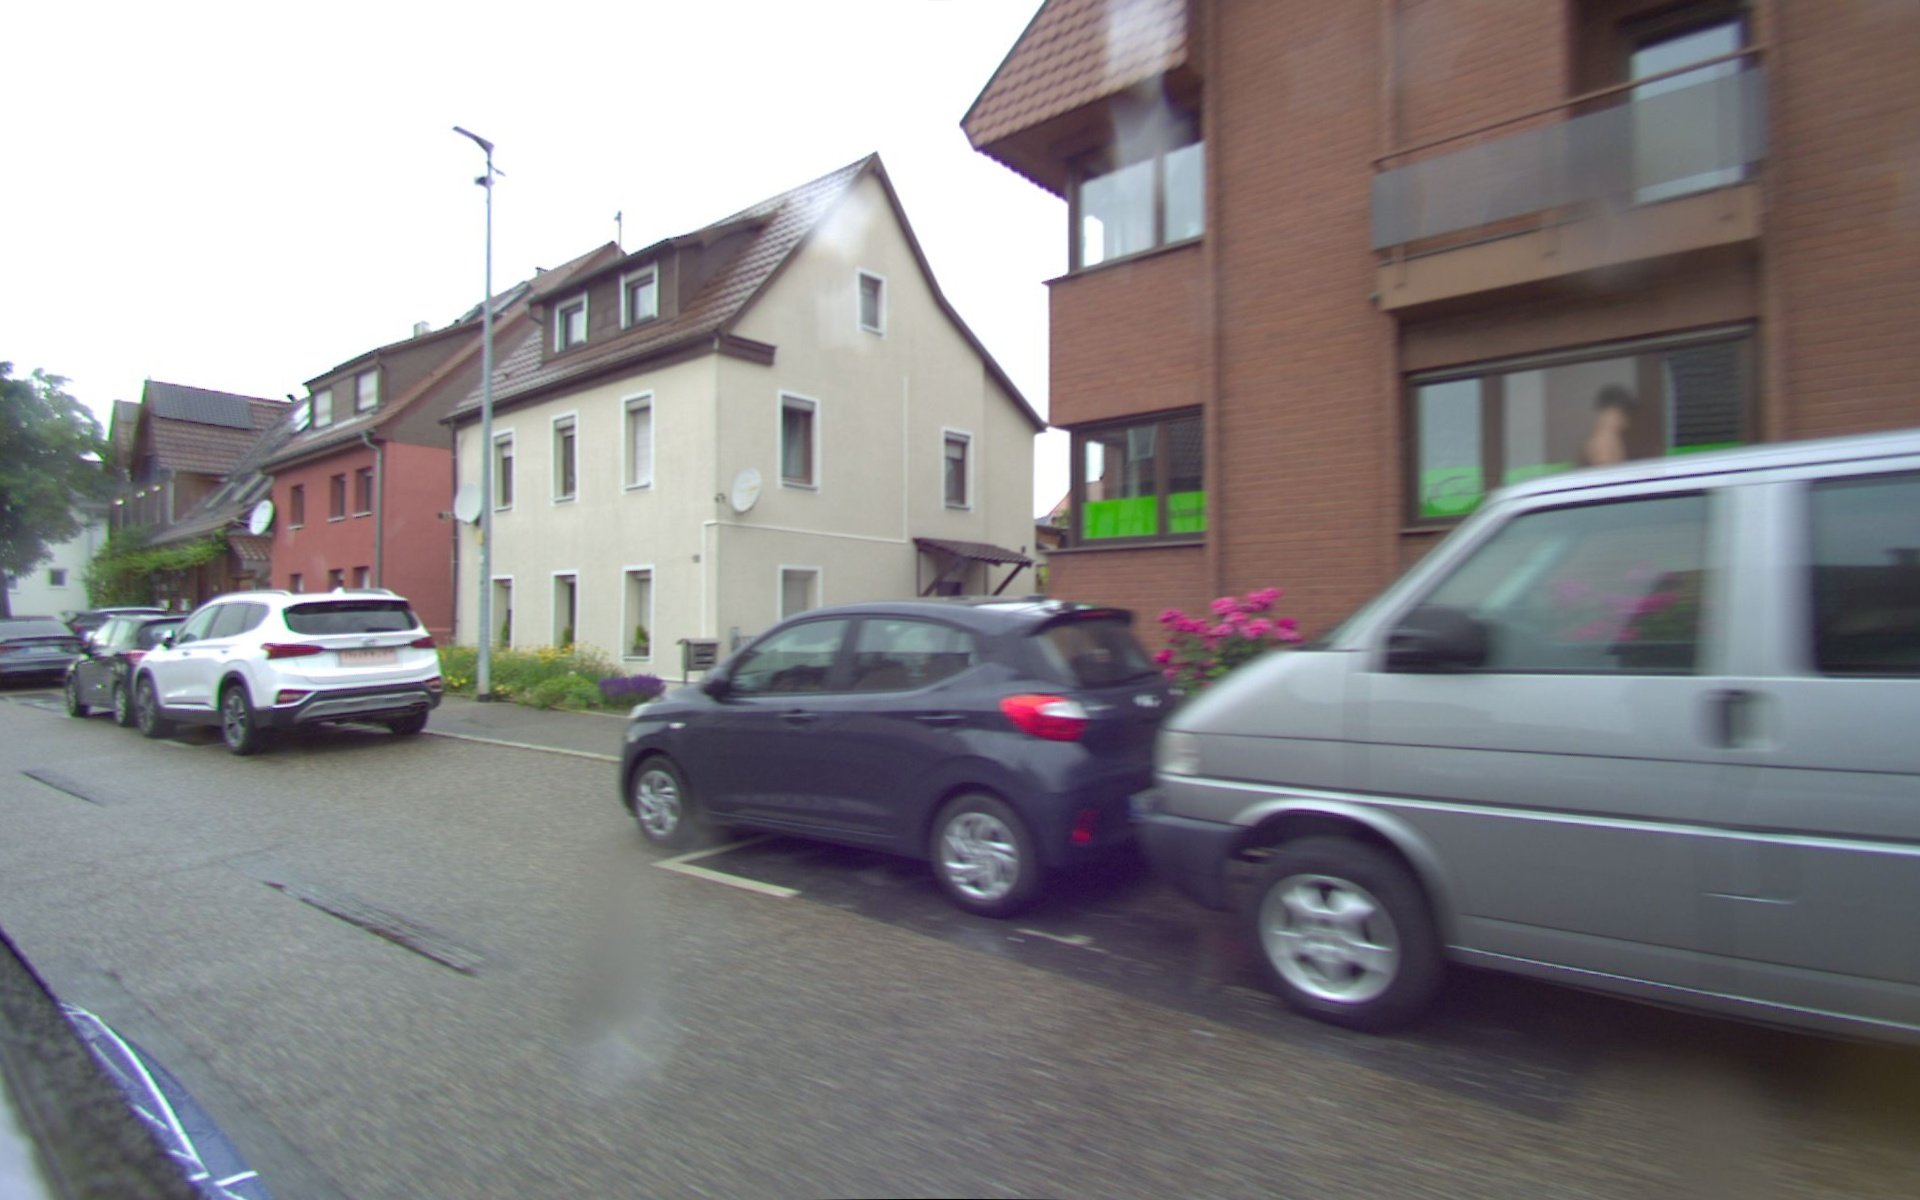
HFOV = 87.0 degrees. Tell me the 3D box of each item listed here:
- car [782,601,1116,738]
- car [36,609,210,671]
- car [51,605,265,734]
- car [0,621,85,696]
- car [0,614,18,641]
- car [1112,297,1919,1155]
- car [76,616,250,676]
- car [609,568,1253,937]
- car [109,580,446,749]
[{"bbox_3d":[0.003,0.779,12.598,1.790,1.414,4.125,-1,-2,44],"label":"car"},{"bbox_3d":[-23.681,1.092,28.712,1.854,1.517,3.539,-1,1,41],"label":"car"},{"bbox_3d":[-11.451,0.912,14.413,3.270,1.630,1.590,-1,-2,37],"label":"car"},{"bbox_3d":[-19.630,1.157,20.794,4.103,1.366,1.612,-1,1,36],"label":"car"},{"bbox_3d":[-52.803,1.455,54.193,3.590,1.432,1.770,0,-1,13],"label":"car"},{"bbox_3d":[3.145,0.282,2.822,5.211,2.029,1.803,-1,0,41],"label":"car"},{"bbox_3d":[-21.441,1.201,27.322,1.589,1.490,3.427,-1,-2,39],"label":"car"},{"bbox_3d":[-0.317,0.656,5.868,3.562,1.508,1.563,-1,-2,38],"label":"car"},{"bbox_3d":[-8.093,0.665,11.846,4.646,1.631,1.749,-1,-2,36],"label":"car"}]
